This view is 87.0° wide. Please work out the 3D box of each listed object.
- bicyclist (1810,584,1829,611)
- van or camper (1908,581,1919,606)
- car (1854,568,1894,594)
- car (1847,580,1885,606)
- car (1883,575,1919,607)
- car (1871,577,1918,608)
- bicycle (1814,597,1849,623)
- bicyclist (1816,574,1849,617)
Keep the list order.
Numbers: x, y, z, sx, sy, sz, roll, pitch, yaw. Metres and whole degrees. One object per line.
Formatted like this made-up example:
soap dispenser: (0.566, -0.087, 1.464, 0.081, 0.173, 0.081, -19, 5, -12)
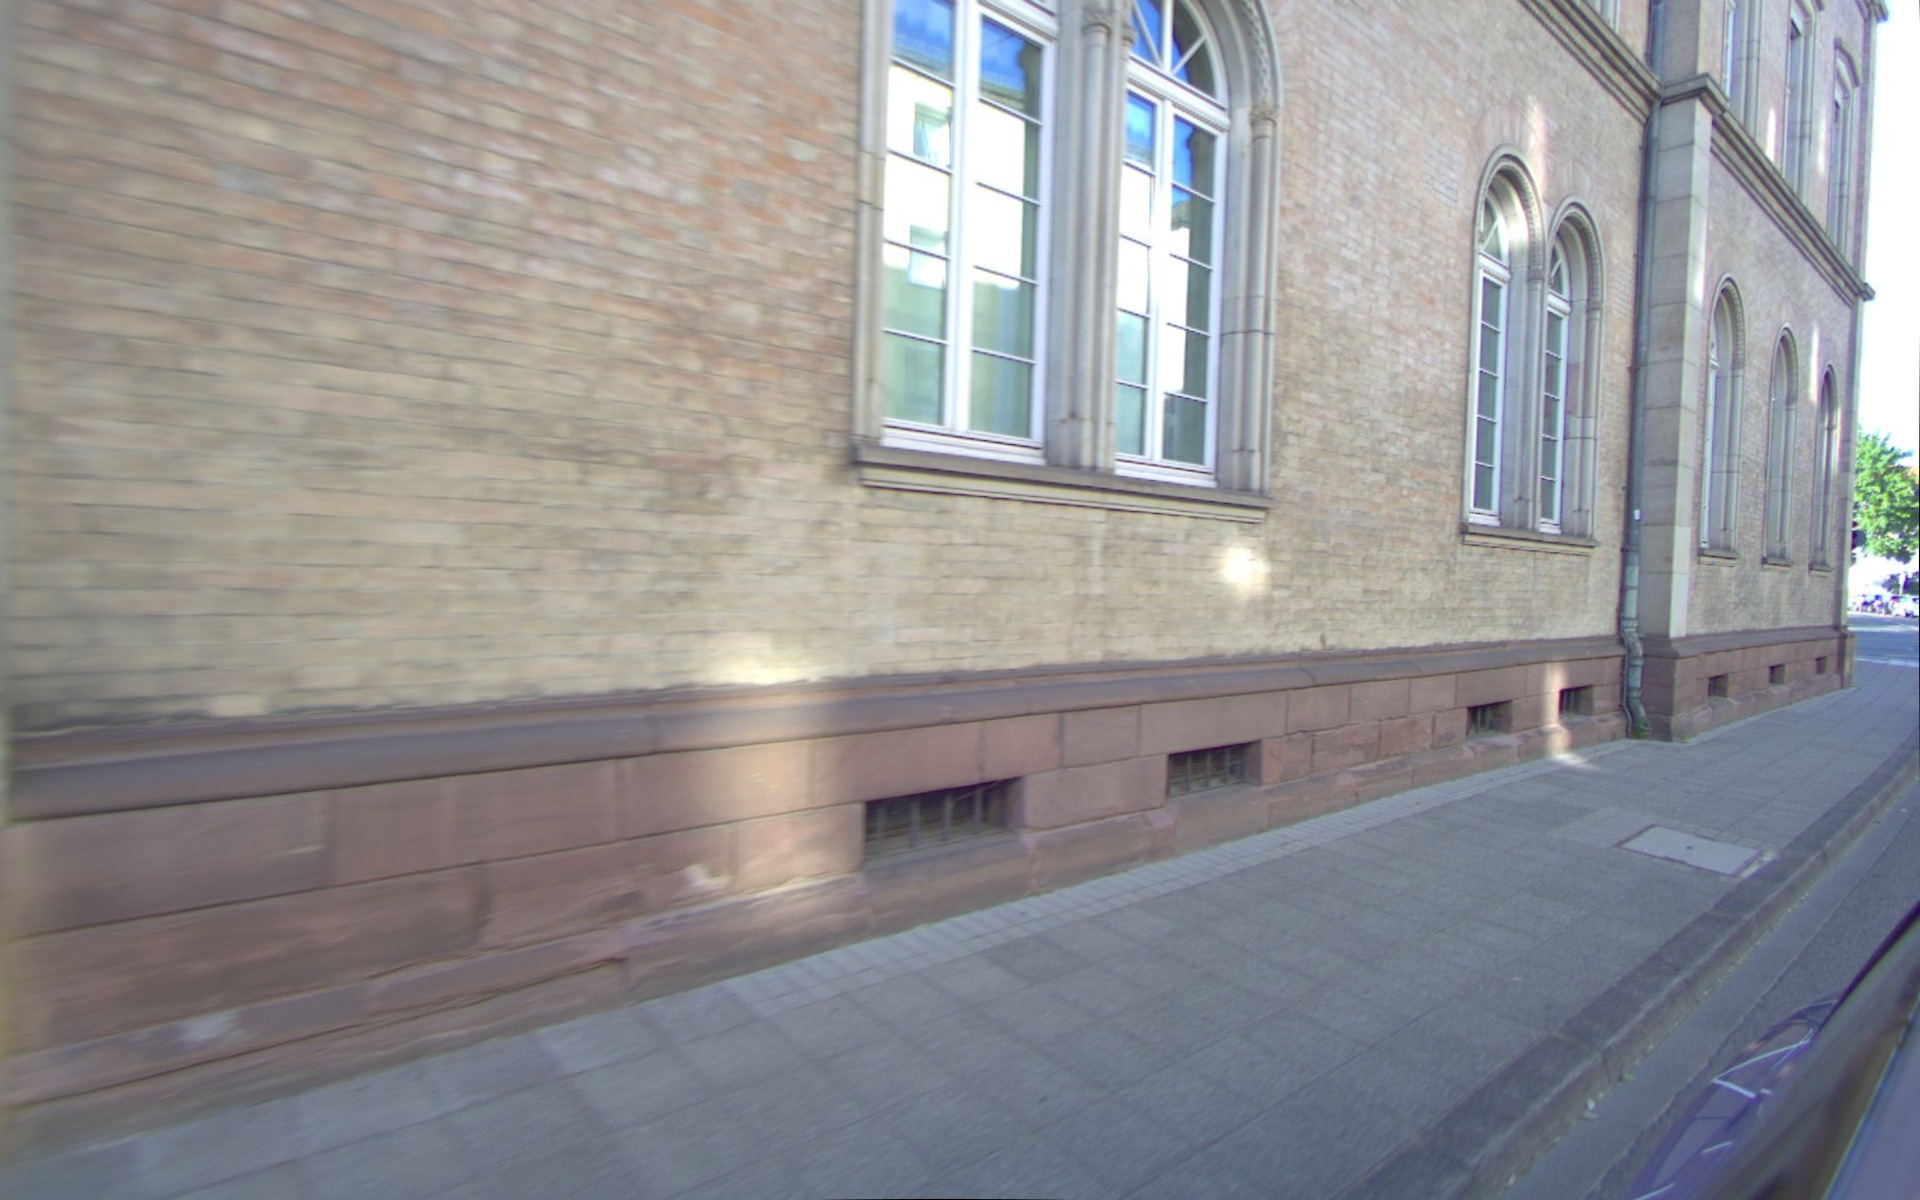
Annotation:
bicyclist: (53.178, -0.165, 62.626, 0.757, 1.612, 0.890, 2, 1, 35)
van or camper: (83.182, -0.470, 85.014, 4.690, 2.113, 1.980, 2, 1, 29)
car: (72.675, -1.496, 80.492, 1.989, 2.038, 3.946, 2, 2, 37)
car: (75.236, -0.563, 84.085, 1.989, 2.039, 3.945, 2, 0, 37)
car: (62.998, -0.574, 67.283, 1.989, 2.038, 3.946, 2, 2, 37)
car: (65.619, -0.523, 71.112, 1.989, 2.038, 3.946, 2, 2, 37)
bicycle: (38.194, 0.430, 44.392, 0.937, 1.051, 2.966, 2, 2, 37)
bicyclist: (38.121, -0.209, 44.239, 0.973, 1.830, 1.116, 2, 1, 38)
